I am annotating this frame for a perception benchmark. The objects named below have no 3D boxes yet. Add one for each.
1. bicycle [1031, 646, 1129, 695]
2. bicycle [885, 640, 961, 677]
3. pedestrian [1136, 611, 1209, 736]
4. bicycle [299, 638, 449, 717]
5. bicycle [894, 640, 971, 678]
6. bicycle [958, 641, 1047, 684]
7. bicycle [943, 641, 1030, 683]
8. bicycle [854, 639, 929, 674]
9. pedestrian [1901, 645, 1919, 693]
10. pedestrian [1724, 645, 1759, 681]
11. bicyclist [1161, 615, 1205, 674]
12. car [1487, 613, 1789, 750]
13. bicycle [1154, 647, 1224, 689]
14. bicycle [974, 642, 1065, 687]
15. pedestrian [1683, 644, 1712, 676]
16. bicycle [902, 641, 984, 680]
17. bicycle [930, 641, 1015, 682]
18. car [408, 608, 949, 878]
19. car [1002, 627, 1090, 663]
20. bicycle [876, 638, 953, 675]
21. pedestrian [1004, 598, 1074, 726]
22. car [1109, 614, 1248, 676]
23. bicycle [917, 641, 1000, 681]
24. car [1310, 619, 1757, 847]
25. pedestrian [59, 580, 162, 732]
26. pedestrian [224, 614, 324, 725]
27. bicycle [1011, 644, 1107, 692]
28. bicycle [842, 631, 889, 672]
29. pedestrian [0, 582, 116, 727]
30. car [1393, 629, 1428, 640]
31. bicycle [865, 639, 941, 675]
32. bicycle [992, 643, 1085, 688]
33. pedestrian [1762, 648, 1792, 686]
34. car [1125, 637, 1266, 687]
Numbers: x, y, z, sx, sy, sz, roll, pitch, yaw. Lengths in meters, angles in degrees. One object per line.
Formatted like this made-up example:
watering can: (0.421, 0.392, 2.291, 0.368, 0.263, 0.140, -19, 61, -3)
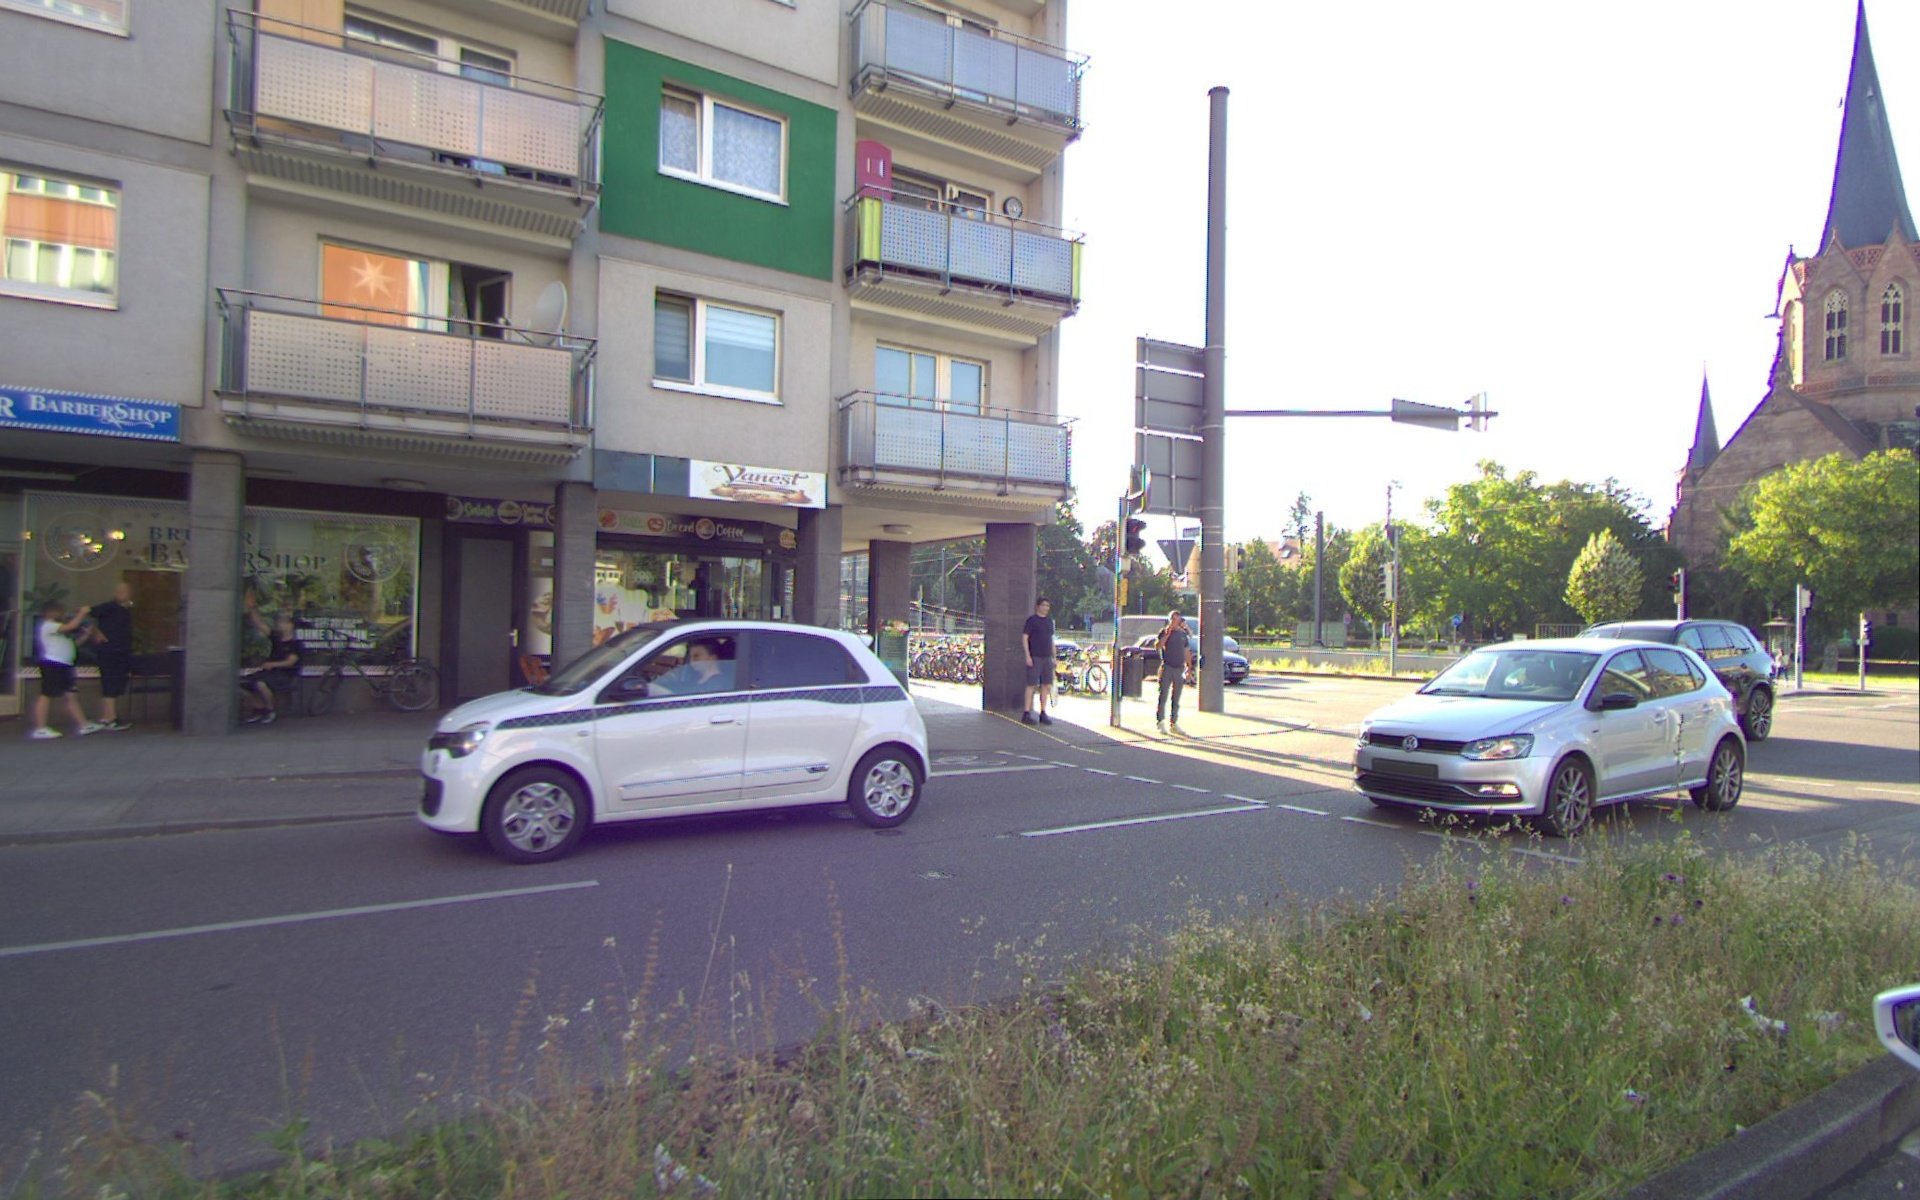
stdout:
bicycle: (2.792, 1.614, 23.256, 2.273, 1.065, 0.731, 2, -2, -31)
bicycle: (-1.091, 1.751, 29.948, 2.273, 1.065, 0.558, 2, -2, -31)
pedestrian: (3.197, 1.090, 15.152, 0.802, 1.811, 0.606, 2, 1, -27)
bicycle: (-8.050, 1.047, 13.836, 1.684, 1.012, 0.619, 3, -2, -40)
bicycle: (-0.798, 1.745, 29.438, 2.273, 1.065, 0.558, 2, -2, -31)
bicycle: (1.105, 1.627, 26.105, 2.273, 1.065, 0.731, 2, -2, -31)
bicycle: (0.721, 1.667, 26.796, 2.273, 1.065, 0.731, 2, -2, -31)
bicycle: (-2.152, 1.797, 31.835, 2.273, 1.065, 0.731, 2, -2, -31)
pedestrian: (35.834, 2.579, 37.408, 0.802, 1.762, 0.960, 2, -1, -29)
pedestrian: (38.609, 3.112, 49.632, 0.828, 1.719, 1.016, 2, 0, -2)
bicyclist: (6.244, 1.247, 28.159, 0.952, 1.619, 0.732, 1, -2, -30)
car: (10.001, 1.119, 14.735, 4.730, 1.733, 1.807, 2, -3, -30)
bicycle: (6.353, 1.864, 27.950, 0.940, 1.112, 1.769, 1, -2, -30)
bicycle: (1.516, 1.619, 25.293, 2.273, 1.065, 0.731, 2, -2, -31)
pedestrian: (41.501, 3.383, 56.546, 0.828, 1.719, 1.017, 2, 0, 3)
bicycle: (-0.474, 1.730, 28.851, 2.273, 1.065, 0.731, 2, -2, -31)
bicycle: (0.360, 1.692, 27.476, 2.273, 1.065, 0.731, 2, -2, -31)
car: (-2.036, 0.905, 7.517, 3.597, 1.565, 1.667, 2, -3, -32)
car: (3.601, 1.886, 42.737, 1.781, 1.392, 3.880, 2, -2, -32)
bicycle: (-1.366, 1.720, 30.458, 2.273, 1.065, 0.642, 2, -2, -31)
pedestrian: (1.215, 0.937, 15.426, 0.802, 1.900, 0.605, 2, 1, -30)
car: (7.686, 1.566, 35.792, 1.978, 2.040, 4.897, 2, -2, -31)
bicycle: (-0.039, 1.717, 28.170, 2.273, 1.065, 0.731, 2, -2, -31)
car: (4.947, 0.986, 8.586, 3.761, 1.565, 1.668, 2, -3, -30)
pedestrian: (-9.777, 0.628, 11.575, 0.614, 1.694, 0.658, 1, -1, 24)
pedestrian: (-8.667, 0.860, 12.713, 0.613, 1.331, 0.811, 1, -1, 16)
bicycle: (2.371, 1.619, 23.940, 2.273, 1.065, 0.731, 2, -2, -31)
bicycle: (-2.653, 1.411, 28.076, 0.514, 1.106, 2.050, 1, -2, -30)
pedestrian: (-9.629, 0.568, 10.726, 0.613, 1.486, 0.659, 1, -1, 6)
car: (67.395, 5.179, 150.302, 1.985, 1.592, 4.411, 3, -2, -41)
bicycle: (-1.749, 1.778, 31.144, 2.273, 1.065, 0.731, 2, -2, -31)
bicycle: (1.937, 1.604, 24.625, 2.273, 1.065, 0.731, 2, -2, -31)
pedestrian: (38.290, 3.136, 47.092, 0.696, 1.719, 0.896, 2, 0, 8)
car: (7.074, 1.823, 30.568, 1.781, 1.330, 4.165, 1, -1, -32)
